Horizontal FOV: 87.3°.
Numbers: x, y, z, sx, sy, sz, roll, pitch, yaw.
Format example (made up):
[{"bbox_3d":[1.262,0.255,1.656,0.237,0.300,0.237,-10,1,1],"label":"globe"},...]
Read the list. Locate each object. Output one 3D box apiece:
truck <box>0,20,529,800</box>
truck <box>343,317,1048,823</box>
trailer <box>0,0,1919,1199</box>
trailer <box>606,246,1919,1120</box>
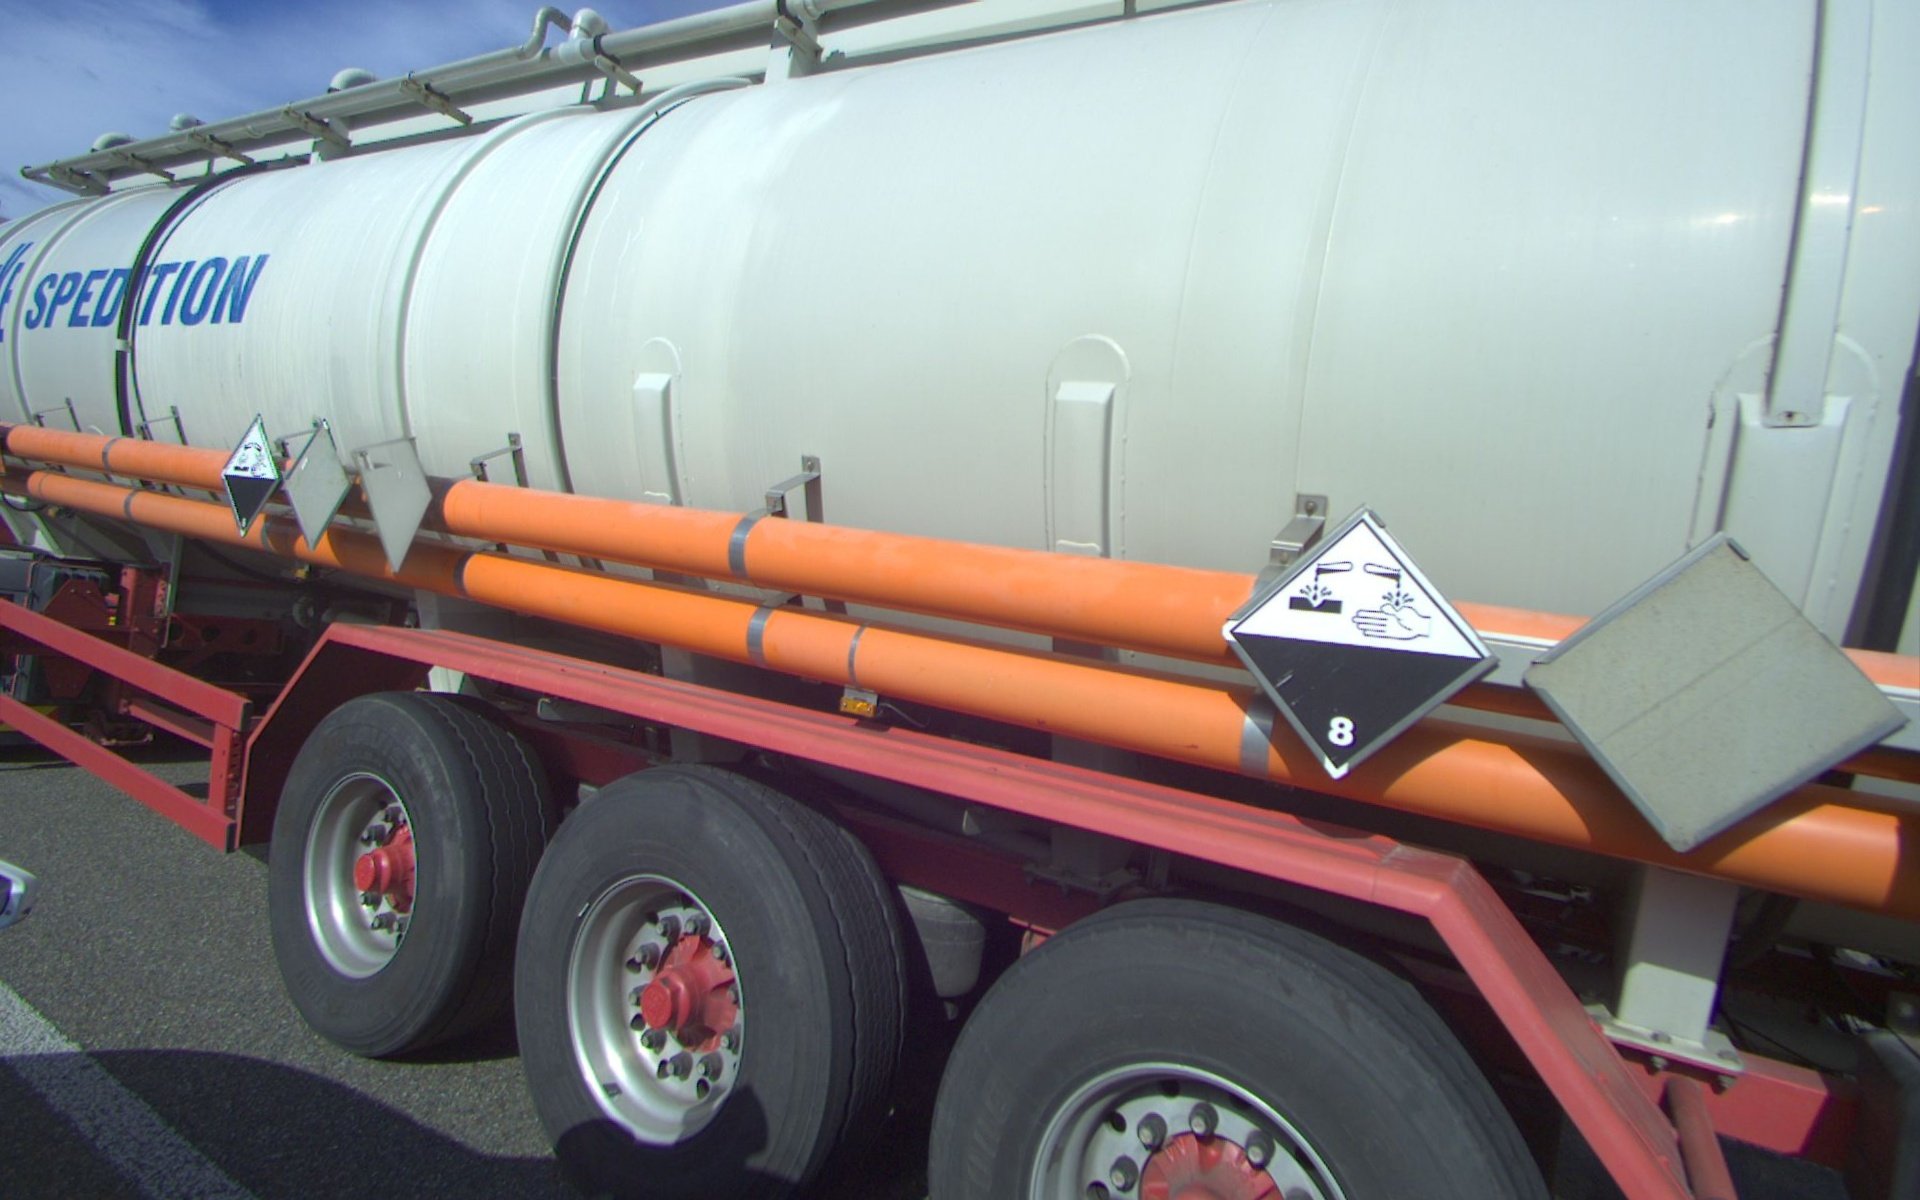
[{"bbox_3d":[-6.579,-1.065,7.430,6.617,3.626,2.538,7,-1,31],"label":"truck"},{"bbox_3d":[-2.856,-0.418,9.972,6.663,3.616,2.533,6,-1,32],"label":"truck"},{"bbox_3d":[-1.393,-0.425,4.228,10.450,3.697,2.546,6,-1,32],"label":"trailer"},{"bbox_3d":[2.326,0.164,6.756,10.450,3.641,2.545,6,-1,32],"label":"trailer"}]
